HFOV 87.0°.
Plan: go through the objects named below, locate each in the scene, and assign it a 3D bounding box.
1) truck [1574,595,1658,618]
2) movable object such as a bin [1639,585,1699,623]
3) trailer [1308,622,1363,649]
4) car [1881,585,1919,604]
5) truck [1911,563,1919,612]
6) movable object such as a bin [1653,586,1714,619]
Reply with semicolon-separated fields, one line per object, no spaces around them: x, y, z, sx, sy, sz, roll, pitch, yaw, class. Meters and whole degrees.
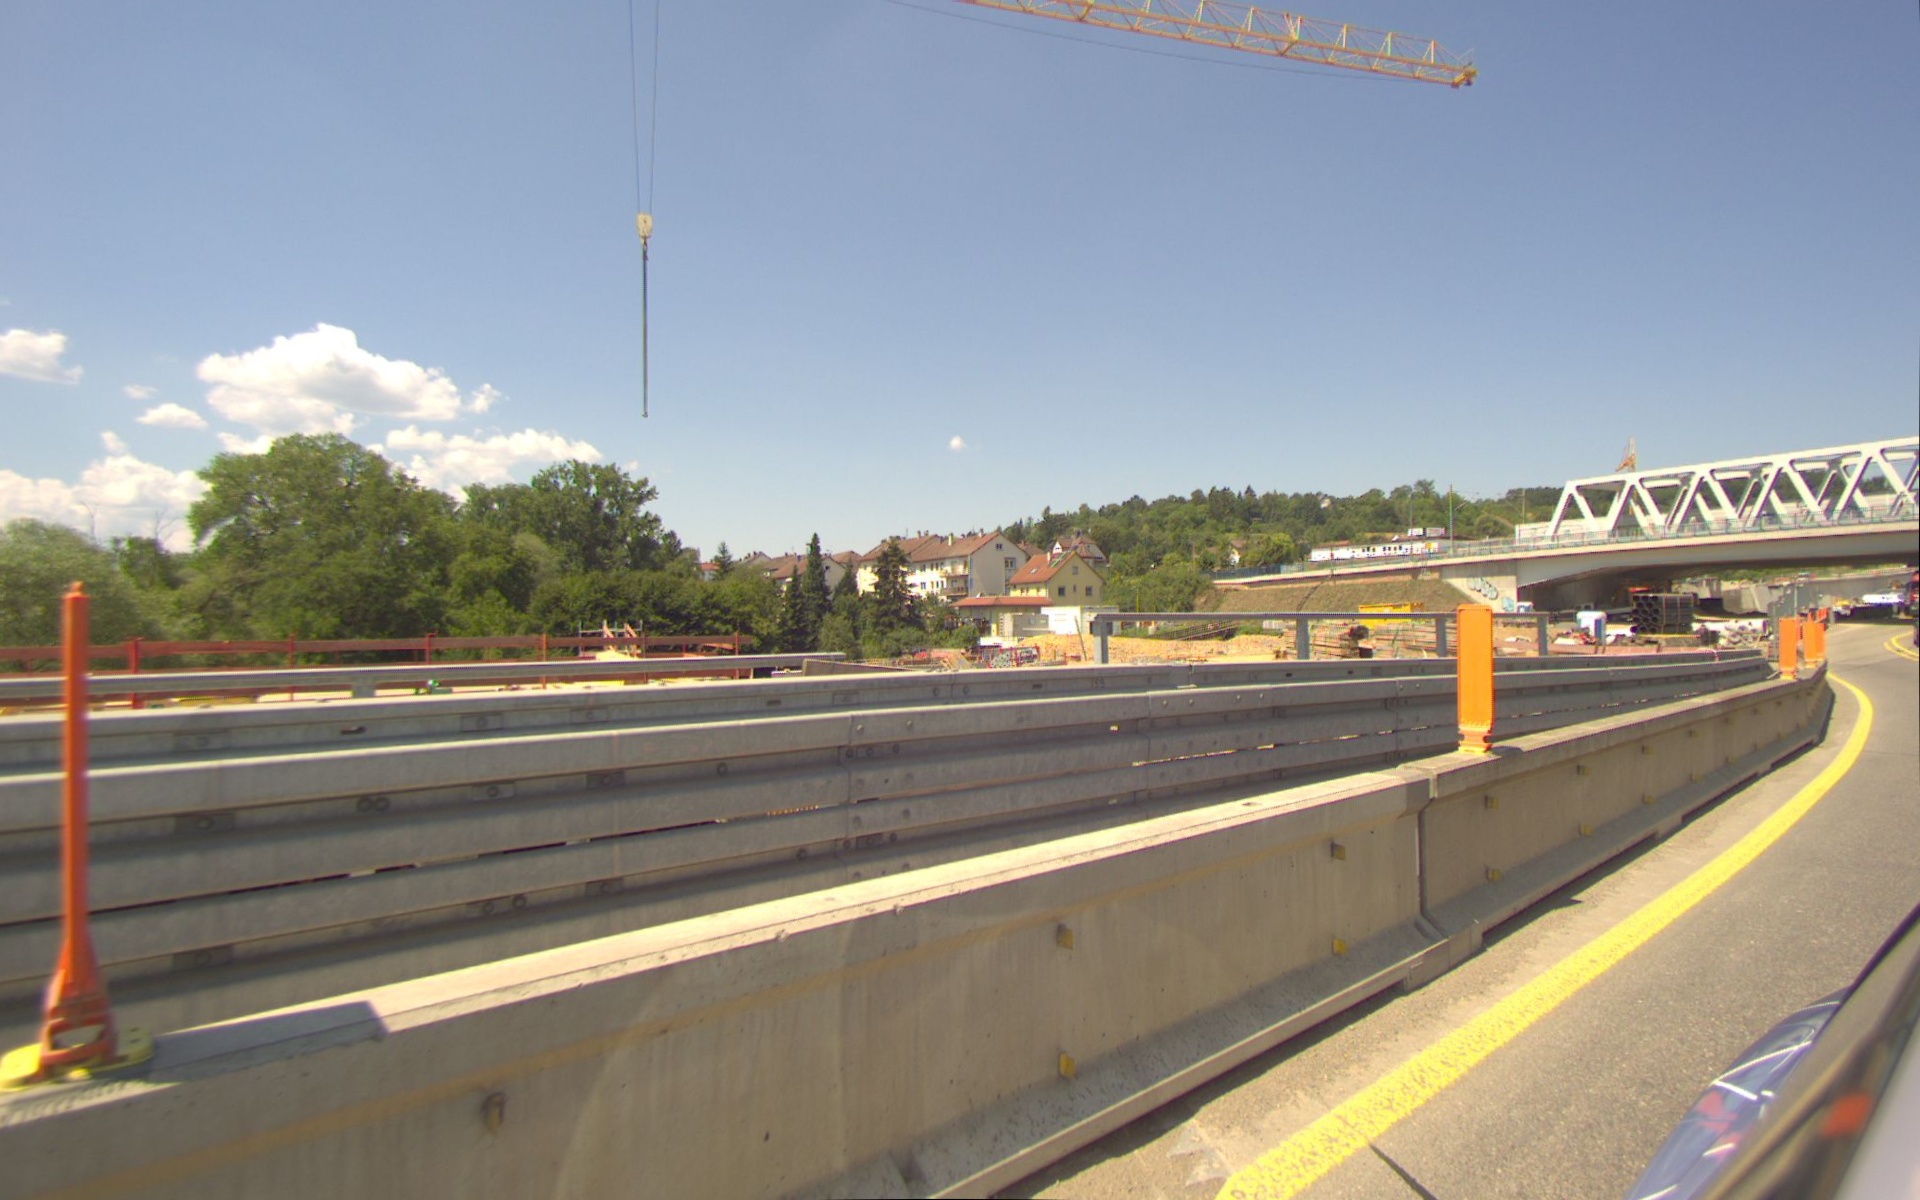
65.430;0.674;101.055;2.615;2.099;6.541;-2;0;-34;truck
71.168;0.404;101.573;2.845;3.587;3.898;-3;0;-27;movable object such as a bin
23.639;2.204;63.640;3.761;1.505;1.625;-1;-1;-42;trailer
146.664;-0.857;156.285;6.273;2.615;2.026;-5;-3;39;car
86.342;-1.287;88.234;10.028;4.096;3.463;-4;2;-38;truck
78.678;0.293;110.107;2.934;3.328;4.568;-3;0;-34;movable object such as a bin
